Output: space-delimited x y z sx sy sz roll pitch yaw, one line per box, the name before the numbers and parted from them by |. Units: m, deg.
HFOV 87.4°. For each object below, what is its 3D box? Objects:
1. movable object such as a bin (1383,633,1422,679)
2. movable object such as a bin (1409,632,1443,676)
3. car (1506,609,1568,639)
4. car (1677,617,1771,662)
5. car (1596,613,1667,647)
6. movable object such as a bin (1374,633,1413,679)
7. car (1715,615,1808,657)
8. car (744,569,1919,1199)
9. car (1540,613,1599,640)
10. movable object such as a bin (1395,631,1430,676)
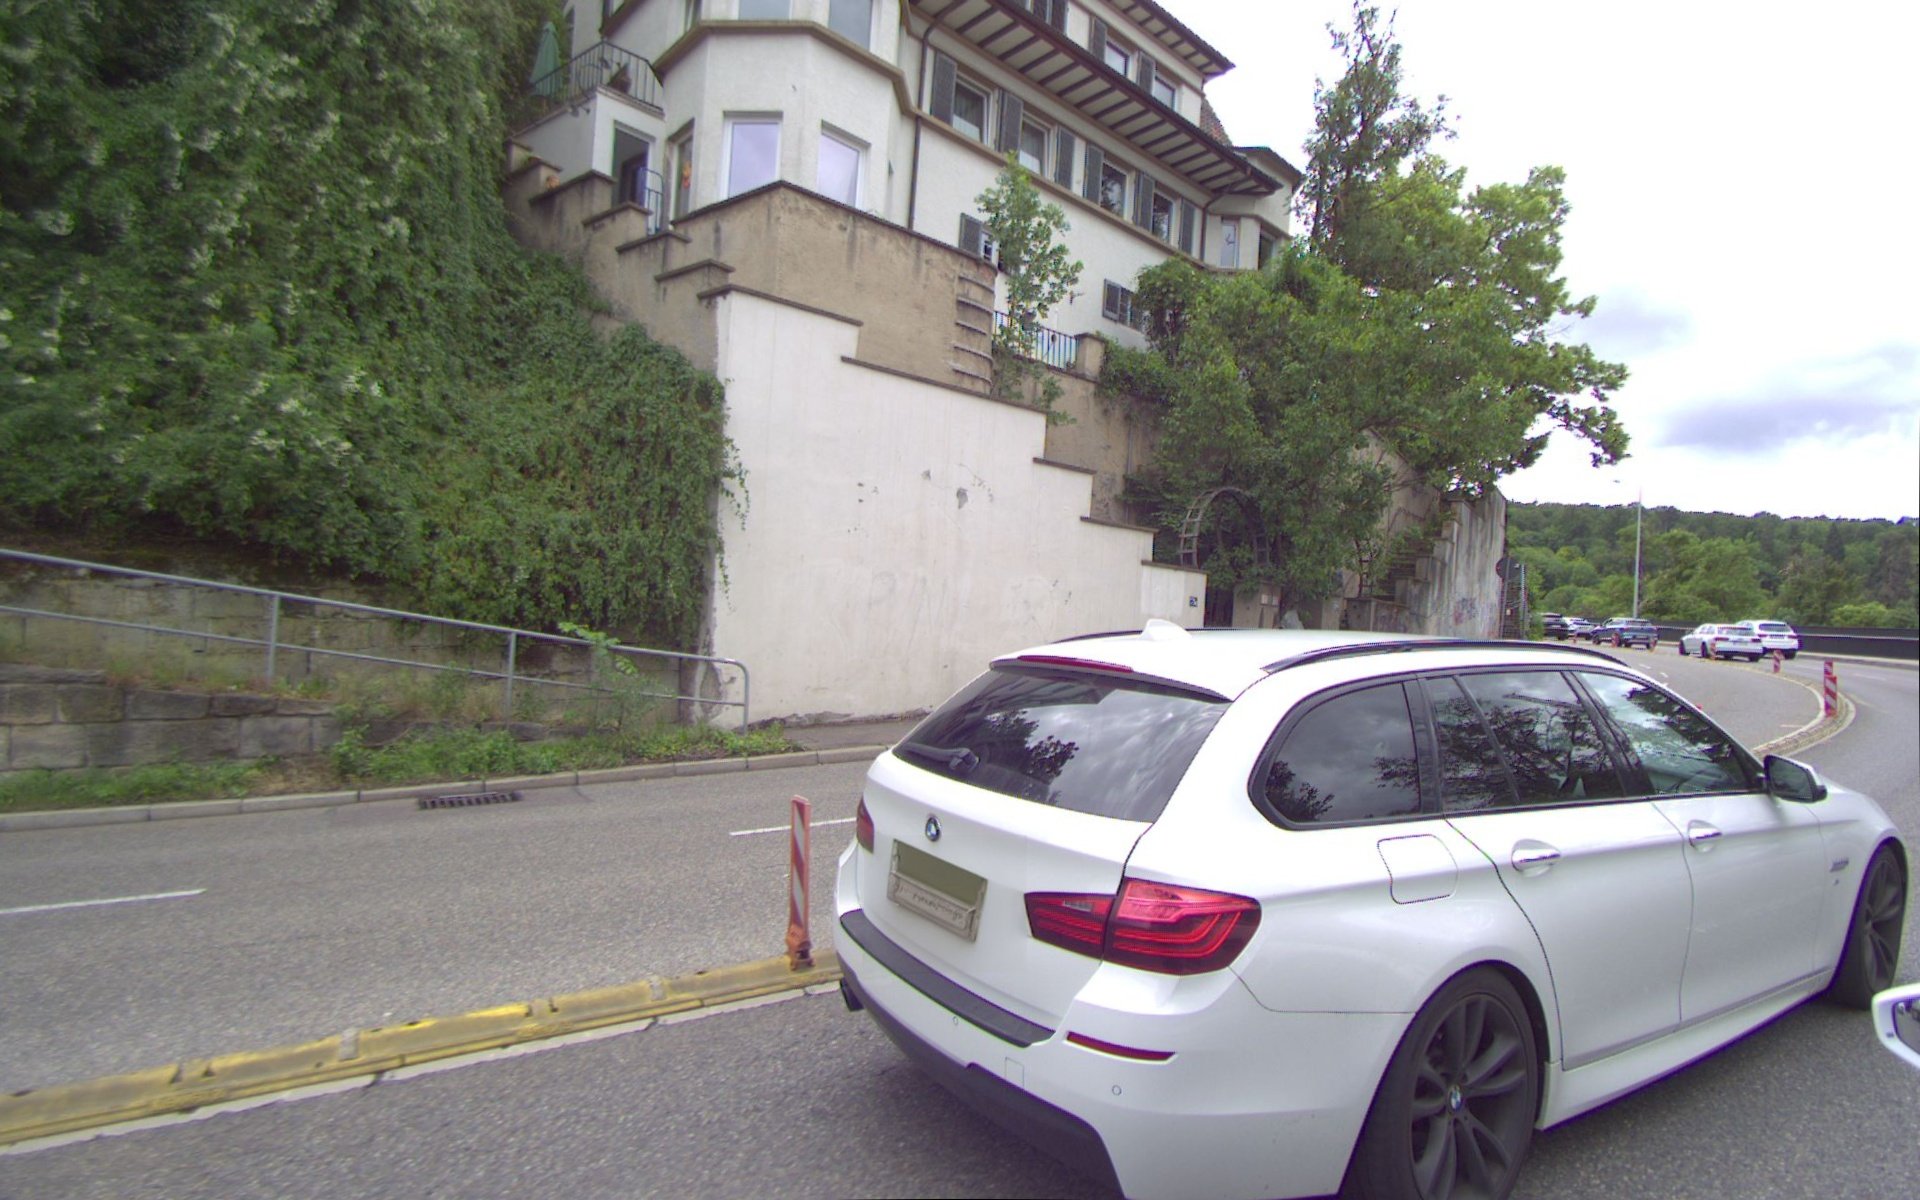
movable object such as a bin | 9.863 1.235 22.409 0.600 0.962 0.577 4 2 43
movable object such as a bin | 10.853 1.245 23.401 0.536 0.962 0.564 4 2 42
car | 36.790 1.498 64.186 1.785 1.712 4.001 3 1 4
car | 31.720 1.590 41.829 1.875 1.595 4.000 3 1 19
car | 35.669 1.548 53.507 1.960 1.561 4.011 3 1 16
movable object such as a bin | 9.489 1.214 21.984 0.600 0.962 0.553 4 2 43
car | 36.292 1.591 45.605 1.960 1.607 4.000 3 1 19
car | 1.823 0.748 3.837 4.825 1.486 1.837 2 2 -32
car | 40.145 1.705 66.267 1.666 1.546 3.535 3 1 0
movable object such as a bin | 10.369 1.220 23.013 0.536 0.962 0.564 4 2 42
